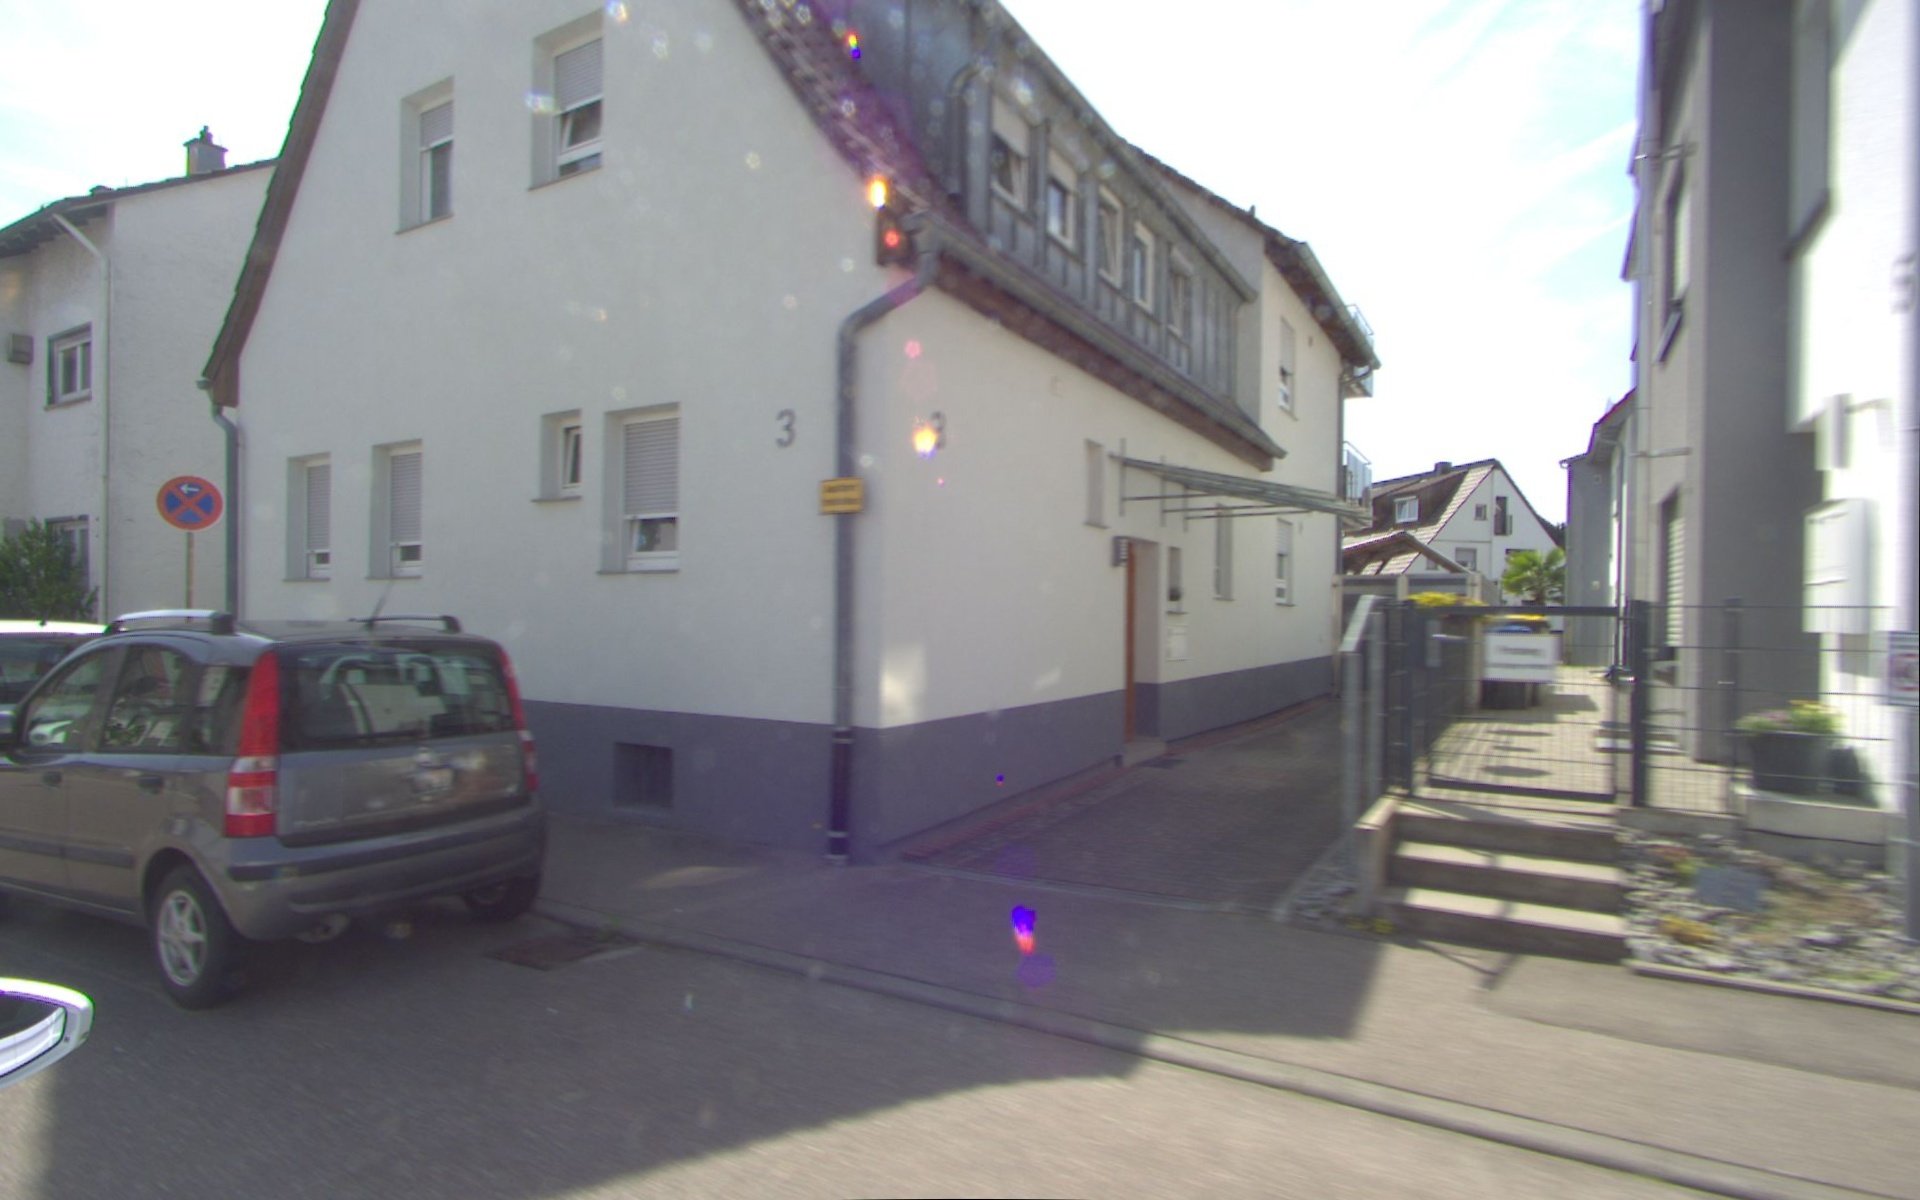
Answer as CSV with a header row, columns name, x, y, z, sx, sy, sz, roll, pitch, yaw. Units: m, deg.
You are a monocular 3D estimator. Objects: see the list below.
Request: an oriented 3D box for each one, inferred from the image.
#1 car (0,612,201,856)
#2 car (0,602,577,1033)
name,x,y,z,sx,sy,sz,roll,pitch,yaw
car,-7.291,0.867,7.406,3.311,1.532,1.497,0,-2,30
car,-3.795,0.834,5.169,3.396,1.565,1.566,0,-2,29
